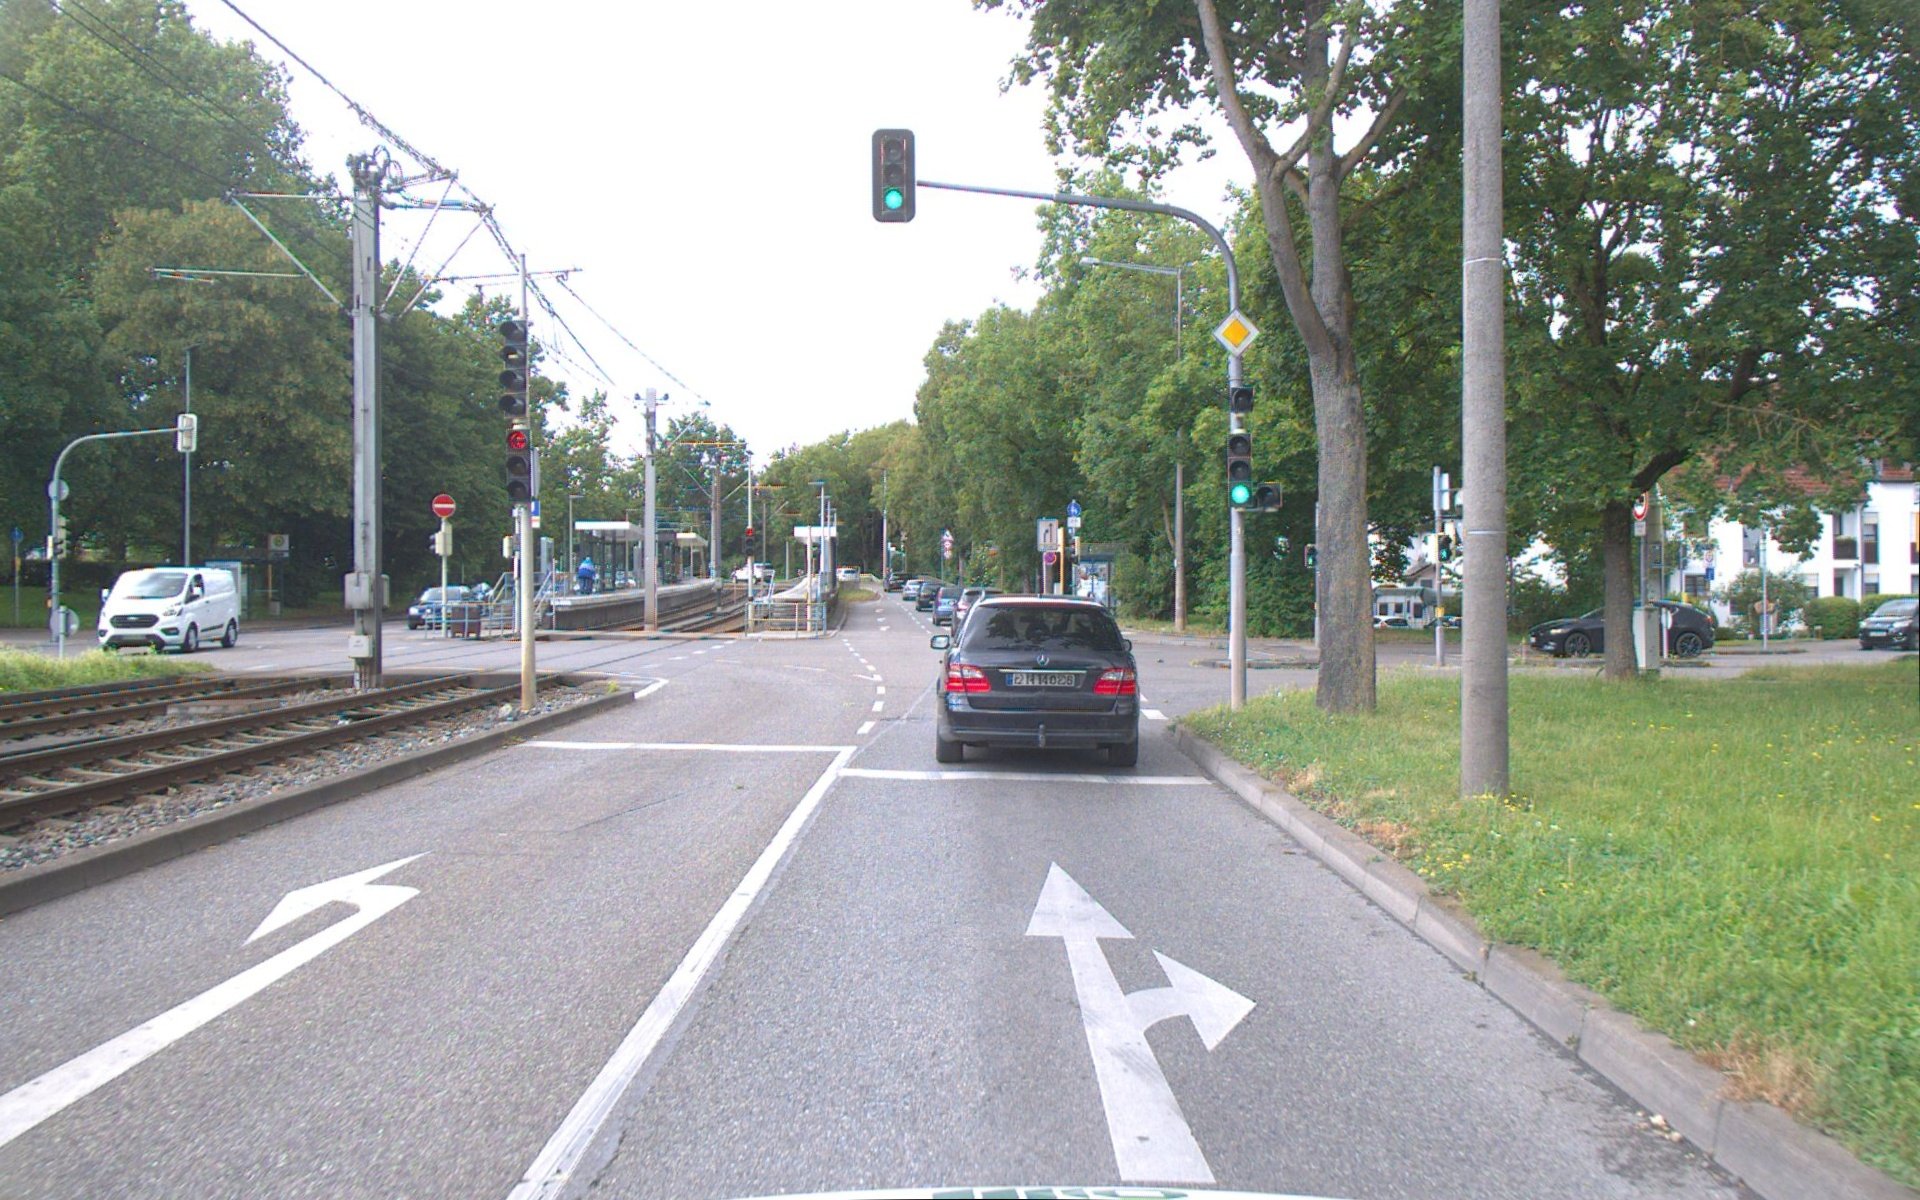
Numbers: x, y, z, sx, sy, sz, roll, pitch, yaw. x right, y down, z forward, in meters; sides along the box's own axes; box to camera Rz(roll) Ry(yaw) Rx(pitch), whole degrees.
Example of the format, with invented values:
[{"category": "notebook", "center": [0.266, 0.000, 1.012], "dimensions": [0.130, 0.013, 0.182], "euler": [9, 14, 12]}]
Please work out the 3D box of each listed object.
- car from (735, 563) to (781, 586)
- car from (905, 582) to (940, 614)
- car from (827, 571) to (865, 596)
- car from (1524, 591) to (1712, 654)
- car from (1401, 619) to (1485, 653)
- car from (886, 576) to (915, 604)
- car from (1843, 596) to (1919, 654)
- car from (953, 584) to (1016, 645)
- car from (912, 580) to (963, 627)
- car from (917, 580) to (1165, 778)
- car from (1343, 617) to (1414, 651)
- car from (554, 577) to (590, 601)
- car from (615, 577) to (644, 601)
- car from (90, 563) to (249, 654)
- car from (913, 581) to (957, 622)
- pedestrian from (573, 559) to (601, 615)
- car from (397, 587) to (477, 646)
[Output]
[{"category": "car", "center": [-18.566, -2.358, 151.957], "dimensions": [3.929, 2.049, 1.988], "euler": [2, -1, 42]}, {"category": "car", "center": [-2.417, -0.101, 105.048], "dimensions": [1.954, 1.926, 3.996], "euler": [2, -1, -4]}, {"category": "car", "center": [-9.749, -1.371, 141.543], "dimensions": [1.967, 2.049, 3.971], "euler": [2, -1, -23]}, {"category": "car", "center": [16.440, 0.566, 41.478], "dimensions": [4.065, 1.553, 1.705], "euler": [0, -1, 4]}, {"category": "car", "center": [19.983, 1.470, 68.553], "dimensions": [1.594, 1.268, 3.843], "euler": [2, -1, -14]}, {"category": "car", "center": [-4.520, -0.709, 124.591], "dimensions": [1.954, 2.001, 3.996], "euler": [2, -1, -4]}, {"category": "car", "center": [30.824, 0.853, 54.106], "dimensions": [3.958, 1.796, 1.974], "euler": [3, -1, -38]}, {"category": "car", "center": [0.757, 0.421, 49.055], "dimensions": [1.745, 1.677, 4.001], "euler": [2, -1, 2]}, {"category": "car", "center": [-0.827, 0.157, 63.968], "dimensions": [1.745, 1.677, 4.001], "euler": [2, -1, 2]}, {"category": "car", "center": [0.605, 0.616, 15.253], "dimensions": [1.747, 1.552, 3.996], "euler": [1, 1, -5]}, {"category": "car", "center": [18.918, 1.513, 74.874], "dimensions": [1.453, 1.410, 3.826], "euler": [2, -1, -14]}, {"category": "car", "center": [-25.270, -0.710, 107.744], "dimensions": [1.653, 1.471, 3.996], "euler": [-2, 0, -4]}, {"category": "car", "center": [-26.539, -0.873, 132.817], "dimensions": [1.676, 1.782, 4.396], "euler": [-1, 0, -4]}, {"category": "car", "center": [-19.035, 0.200, 40.078], "dimensions": [1.955, 2.049, 4.878], "euler": [-1, 0, -7]}, {"category": "car", "center": [-1.293, 0.072, 83.866], "dimensions": [1.954, 1.952, 3.996], "euler": [2, -1, -4]}, {"category": "pedestrian", "center": [-14.997, -0.516, 66.503], "dimensions": [0.950, 2.224, 0.975], "euler": [0, 0, -3]}, {"category": "car", "center": [-18.007, 0.555, 57.091], "dimensions": [1.664, 1.893, 3.996], "euler": [2, -1, -4]}]
